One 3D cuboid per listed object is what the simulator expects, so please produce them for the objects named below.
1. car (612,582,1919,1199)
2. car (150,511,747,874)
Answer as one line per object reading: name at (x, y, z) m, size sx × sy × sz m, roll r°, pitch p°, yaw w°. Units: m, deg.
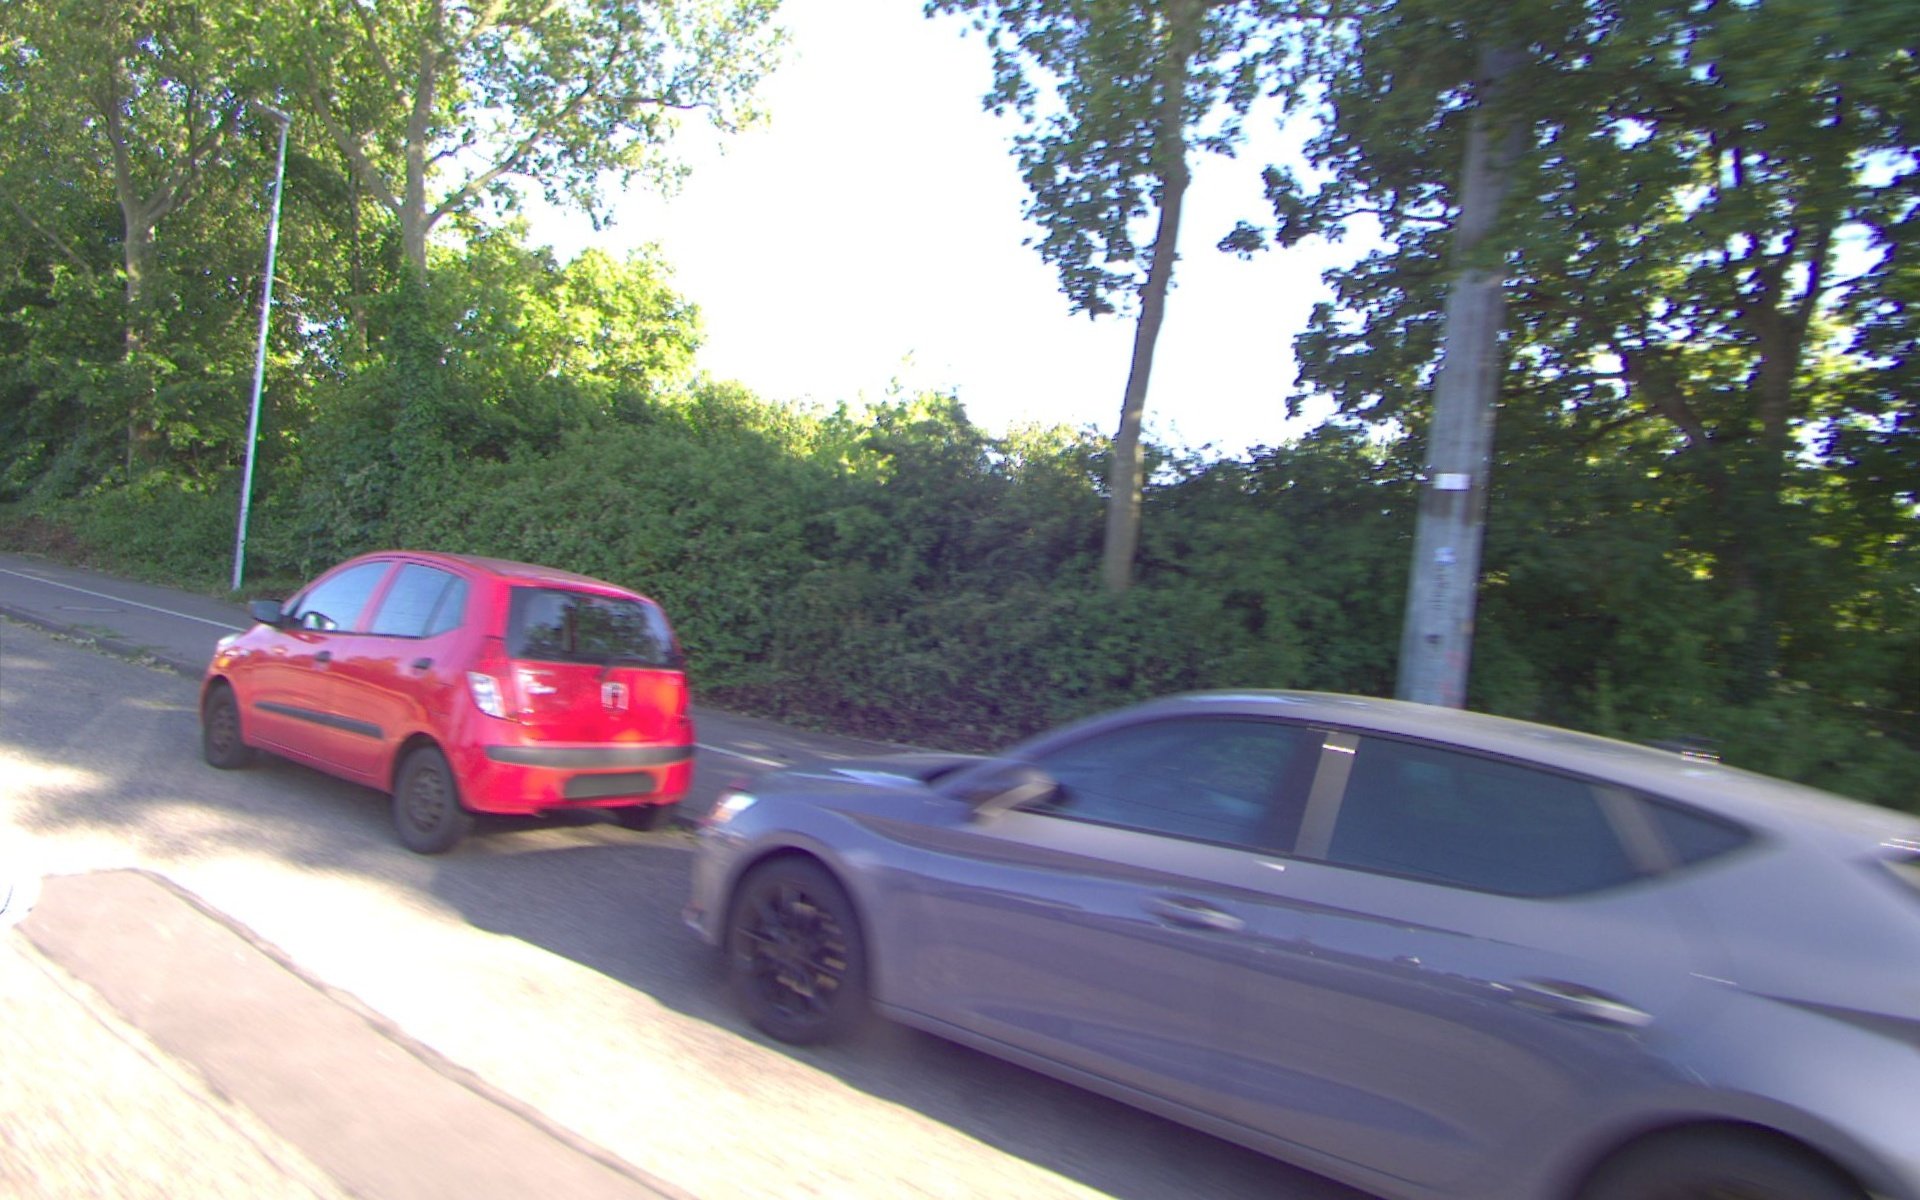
car at (0.962, 0.960, 3.573) m, size 4.096 × 1.473 × 1.813 m, roll 7°, pitch -2°, yaw 31°
car at (-3.338, 0.453, 6.429) m, size 3.580 × 1.553 × 1.644 m, roll 7°, pitch -3°, yaw 32°
